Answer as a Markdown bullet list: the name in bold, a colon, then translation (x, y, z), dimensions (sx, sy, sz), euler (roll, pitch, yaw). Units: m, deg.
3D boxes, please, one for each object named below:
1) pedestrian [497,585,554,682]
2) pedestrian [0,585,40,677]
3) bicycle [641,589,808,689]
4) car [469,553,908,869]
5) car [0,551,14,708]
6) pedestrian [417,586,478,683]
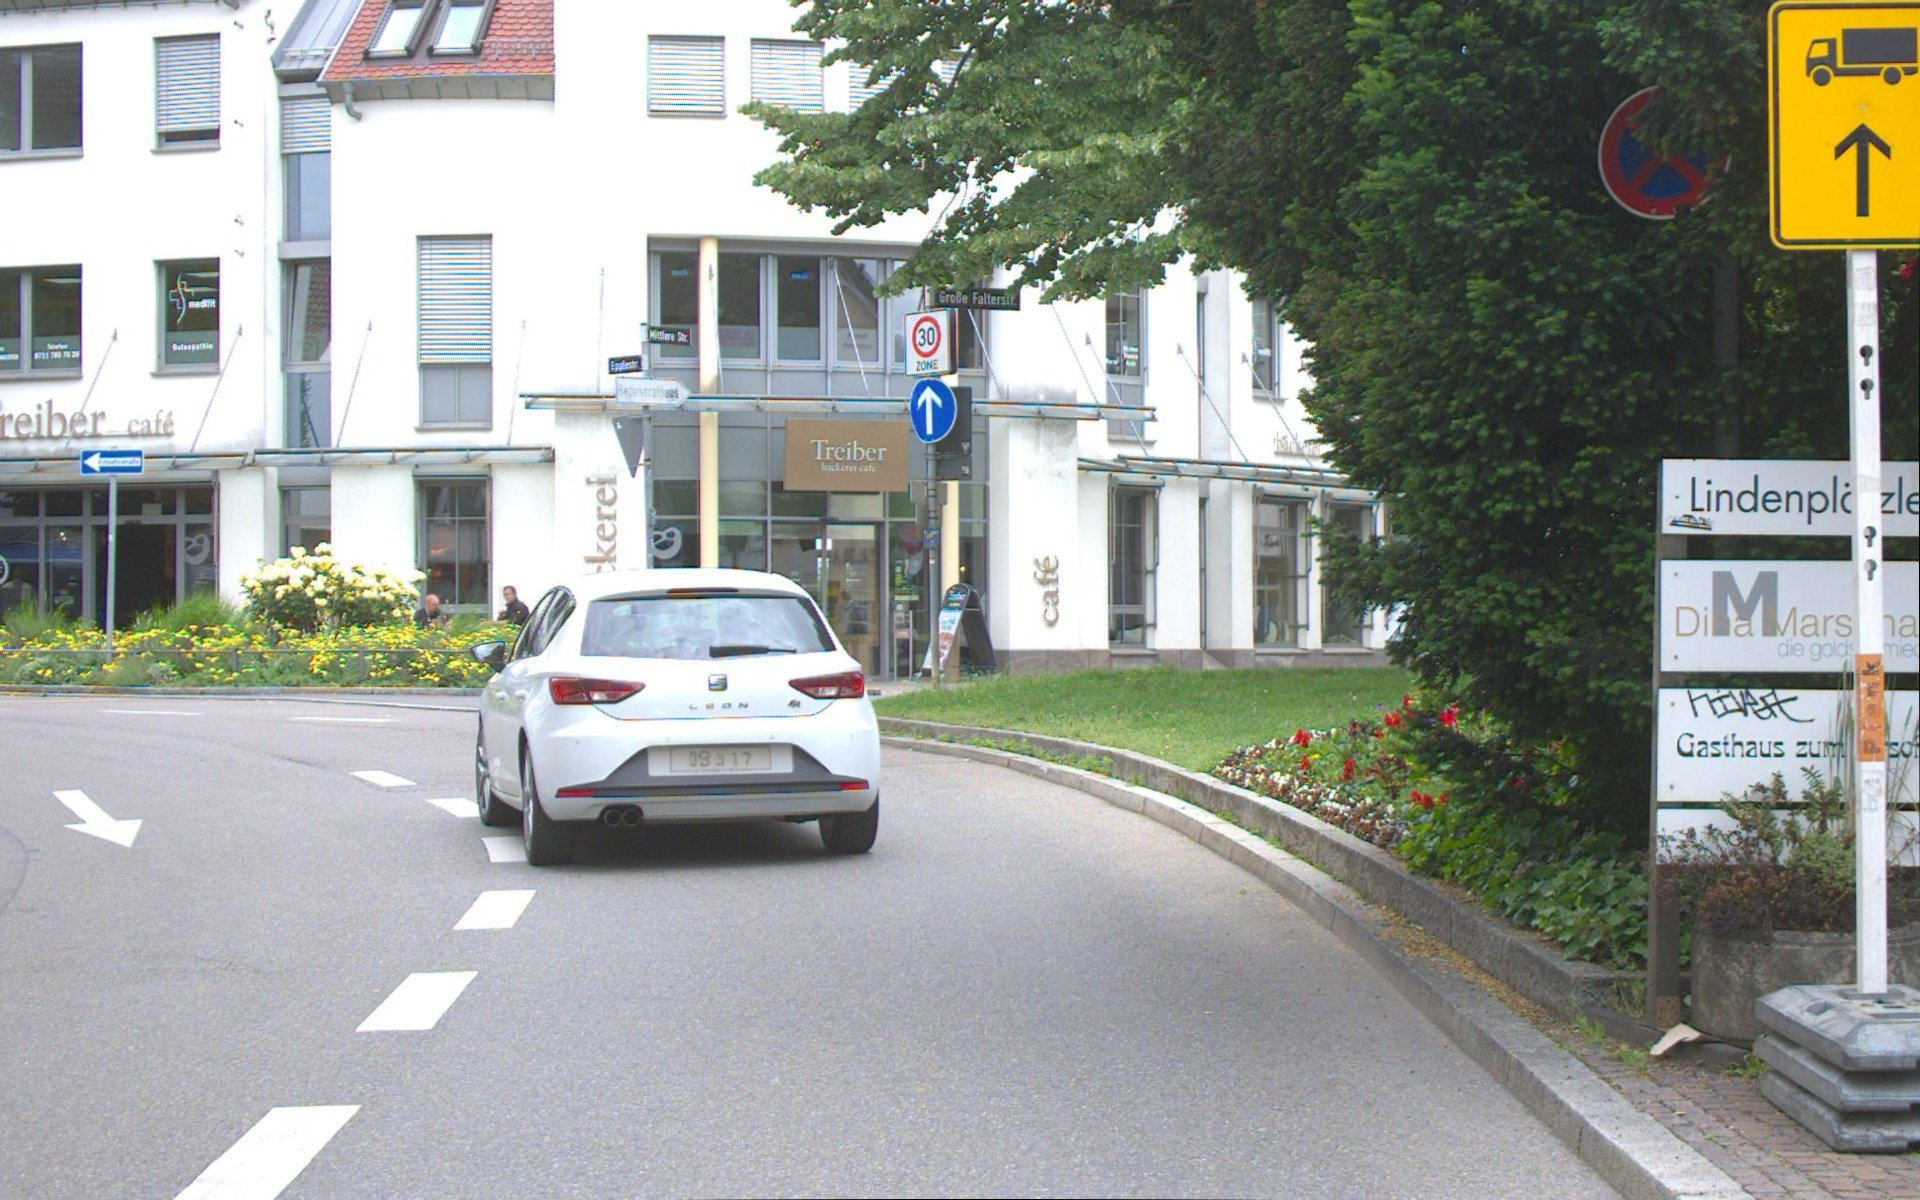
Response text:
- **pedestrian**: translation (-6.036, 0.461, 47.747), dimensions (0.655, 1.337, 0.696), euler (0, 0, 4)
- **pedestrian**: translation (-13.776, 0.455, 49.702), dimensions (0.567, 1.313, 0.764), euler (0, -2, 17)
- **bicycle**: translation (-2.998, 0.487, 43.816), dimensions (1.975, 1.235, 0.743), euler (0, 0, 17)
- **car**: translation (-1.550, 0.491, 18.175), dimensions (1.843, 1.429, 4.001), euler (0, 1, -11)
- **car**: translation (-12.487, 0.288, 36.293), dimensions (4.361, 1.669, 2.041), euler (1, 1, 11)
- **pedestrian**: translation (-7.141, 0.478, 47.927), dimensions (0.700, 1.327, 0.684), euler (0, 0, 4)
